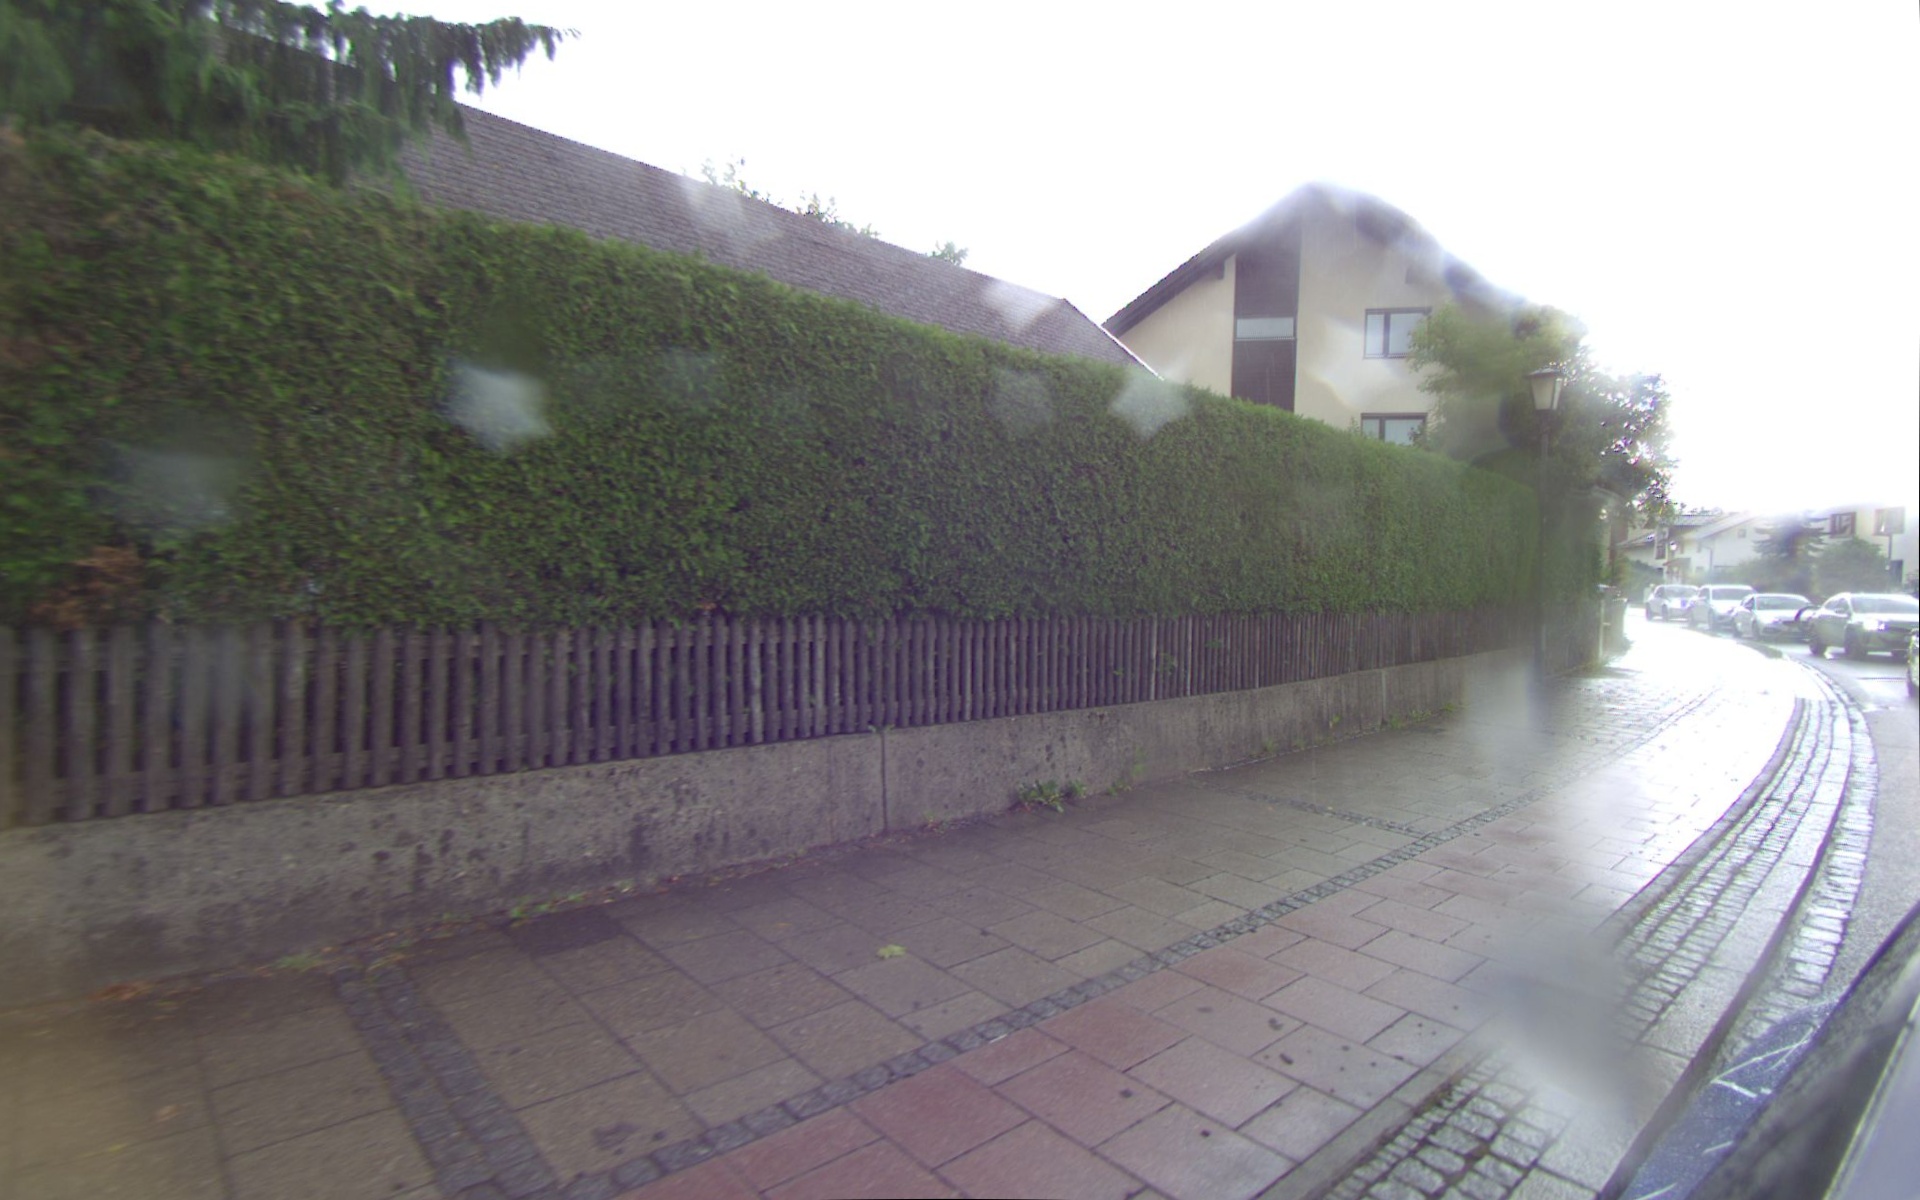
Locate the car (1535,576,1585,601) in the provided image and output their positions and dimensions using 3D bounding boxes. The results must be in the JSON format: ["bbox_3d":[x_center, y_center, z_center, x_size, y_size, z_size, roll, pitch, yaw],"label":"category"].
[{"bbox_3d":[39.492,-0.743,66.712,1.770,1.568,4.259,0,1,17],"label":"car"}]

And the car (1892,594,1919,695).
[{"bbox_3d":[14.296,0.641,13.771,1.783,1.412,4.228,0,1,35],"label":"car"}]

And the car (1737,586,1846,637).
[{"bbox_3d":[25.350,0.301,31.011,1.779,1.412,4.239,0,1,28],"label":"car"}]

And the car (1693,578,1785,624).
[{"bbox_3d":[28.360,-0.006,36.971,1.777,1.568,4.244,0,1,26],"label":"car"}]

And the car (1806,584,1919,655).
[{"bbox_3d":[21.681,0.381,23.926,1.781,1.497,5.325,0,1,32],"label":"car"}]

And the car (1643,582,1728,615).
[{"bbox_3d":[31.974,-0.085,44.736,1.771,1.390,4.258,0,1,17],"label":"car"}]

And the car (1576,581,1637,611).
[{"bbox_3d":[35.726,-0.246,56.024,1.771,1.568,4.258,0,1,17],"label":"car"}]
